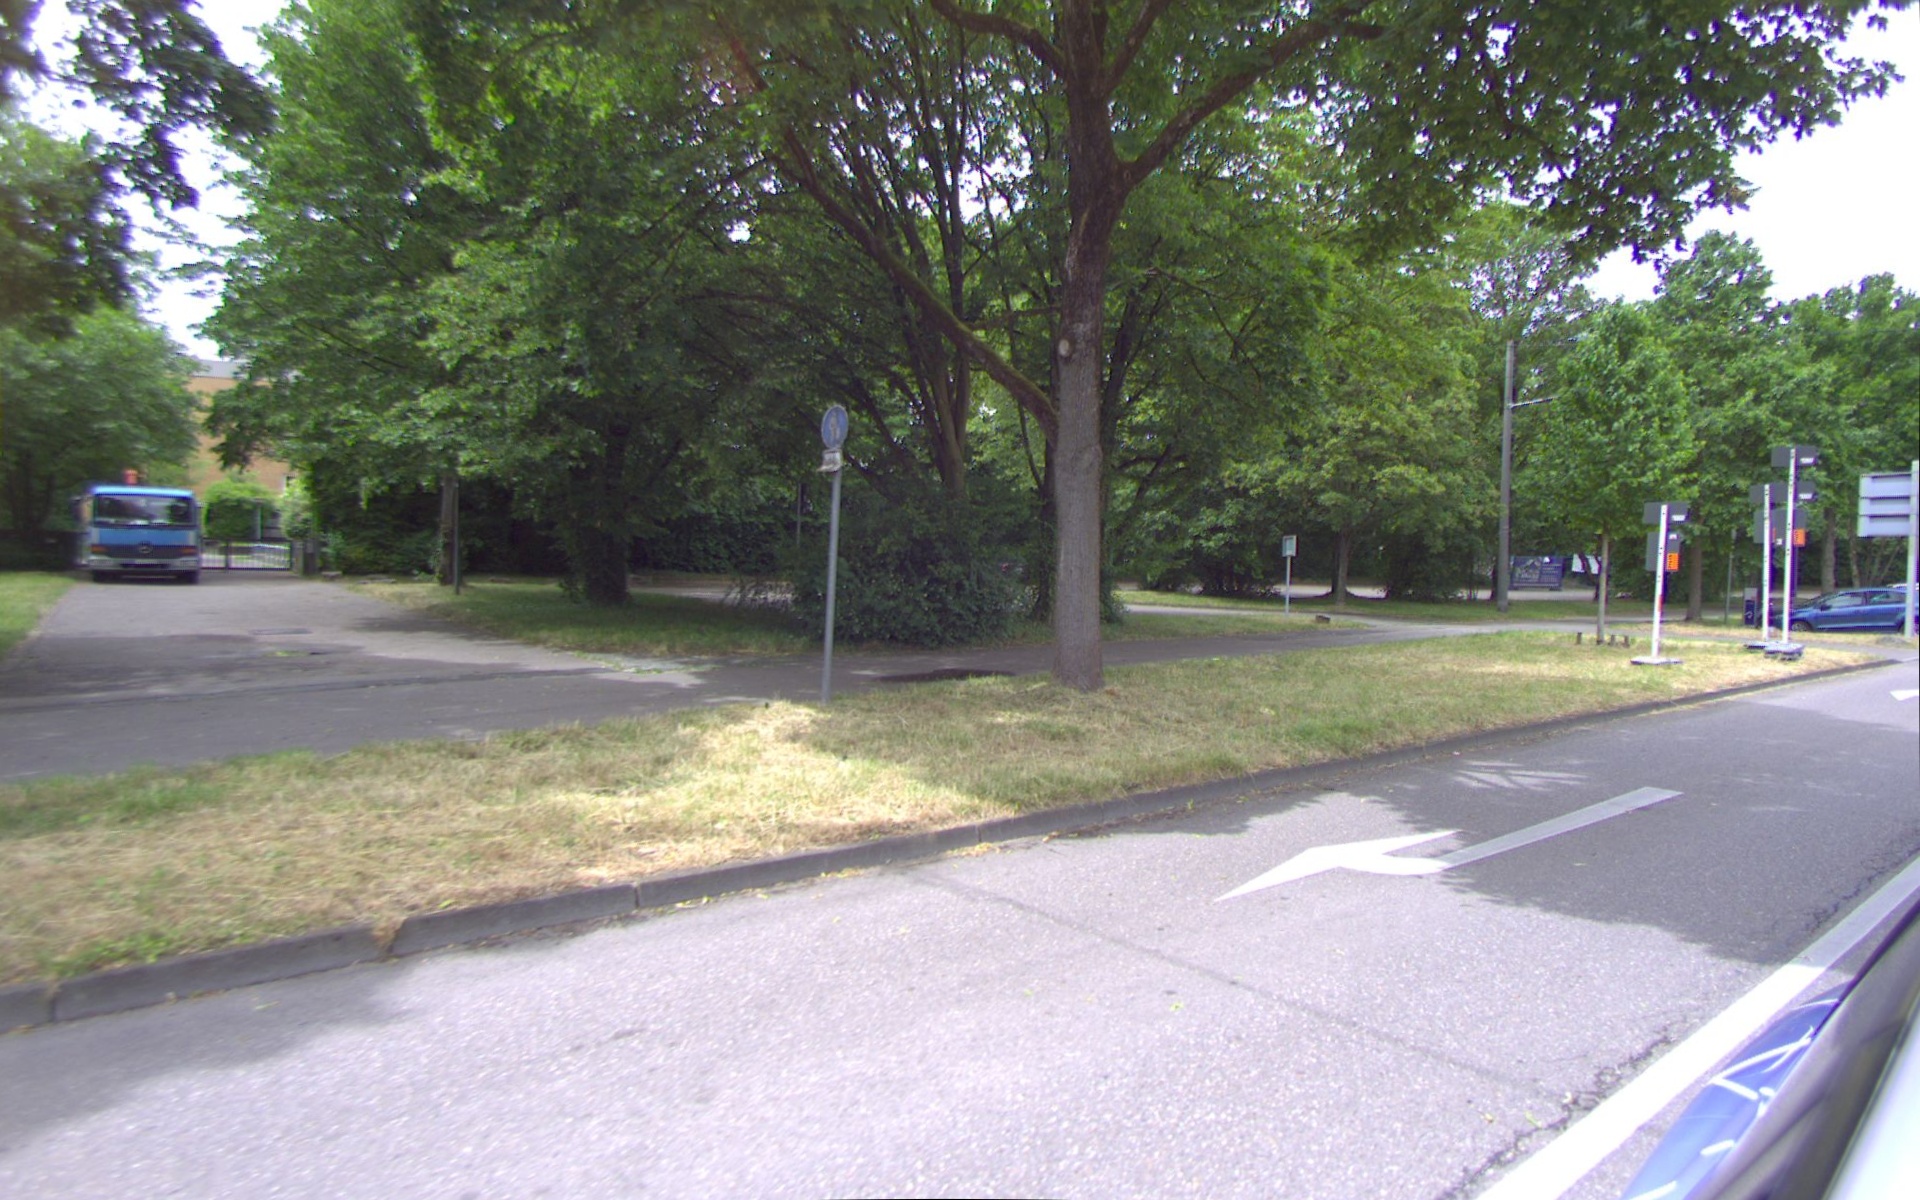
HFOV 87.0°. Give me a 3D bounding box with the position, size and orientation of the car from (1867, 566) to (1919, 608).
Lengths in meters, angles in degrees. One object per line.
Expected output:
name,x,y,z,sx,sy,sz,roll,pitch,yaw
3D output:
car,38.670,-0.484,39.578,4.382,1.628,1.979,2,2,30

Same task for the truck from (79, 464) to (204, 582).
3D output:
truck,-22.969,-2.071,28.689,2.437,2.882,7.432,0,3,-37

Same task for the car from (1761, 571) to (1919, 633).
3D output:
car,24.971,0.028,28.115,3.970,1.503,1.898,3,4,32

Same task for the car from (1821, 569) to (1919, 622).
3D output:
car,29.193,-0.121,31.071,3.975,1.504,1.895,3,3,35

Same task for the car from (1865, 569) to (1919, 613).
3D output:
car,35.179,-0.285,36.136,3.975,1.504,1.895,3,3,35
